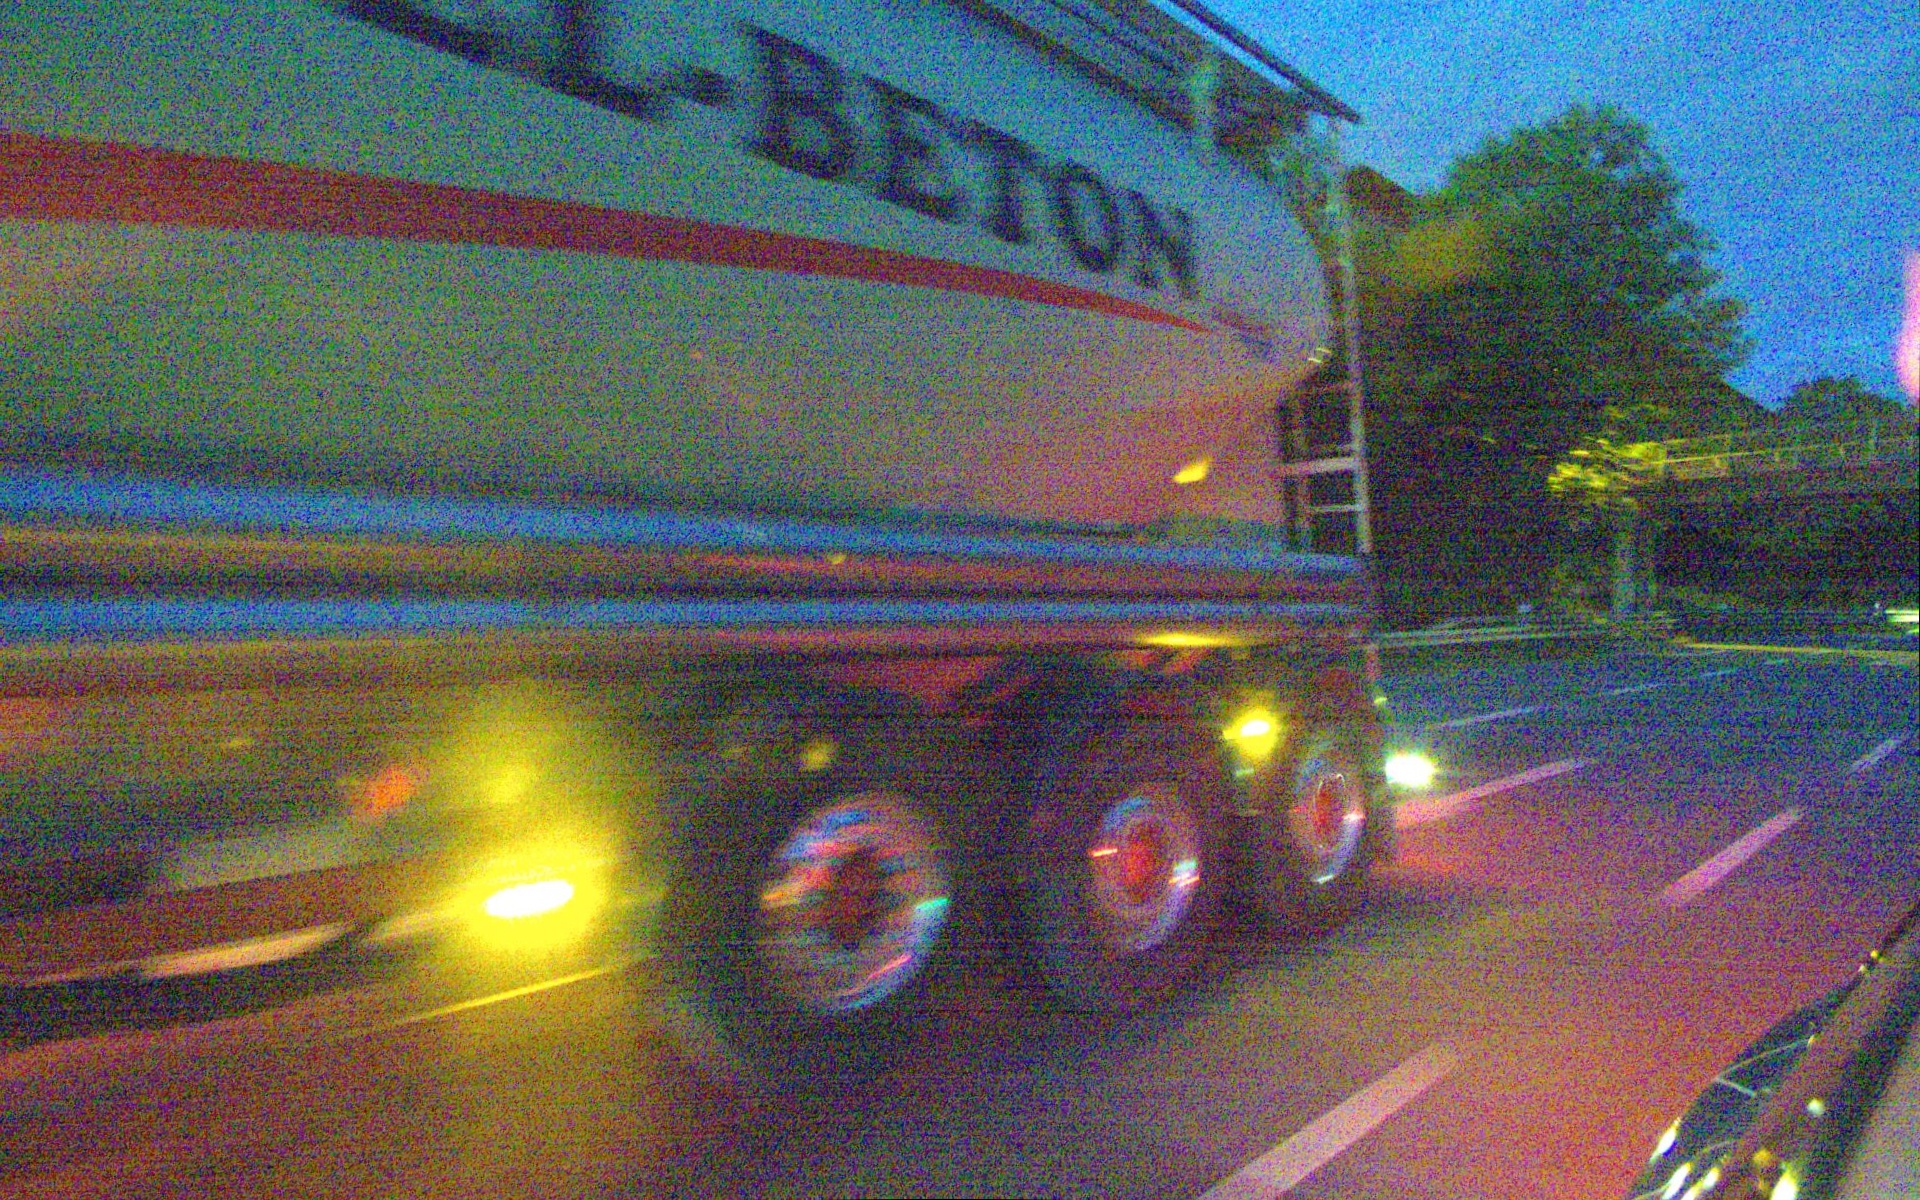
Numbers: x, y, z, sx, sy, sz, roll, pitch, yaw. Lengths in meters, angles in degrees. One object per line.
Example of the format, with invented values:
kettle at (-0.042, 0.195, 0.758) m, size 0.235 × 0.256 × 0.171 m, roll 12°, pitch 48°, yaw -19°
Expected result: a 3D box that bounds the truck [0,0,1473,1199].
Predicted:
truck at (-3.322, -0.678, 1.640) m, size 12.910 × 4.158 × 2.692 m, roll 0°, pitch 1°, yaw -41°
